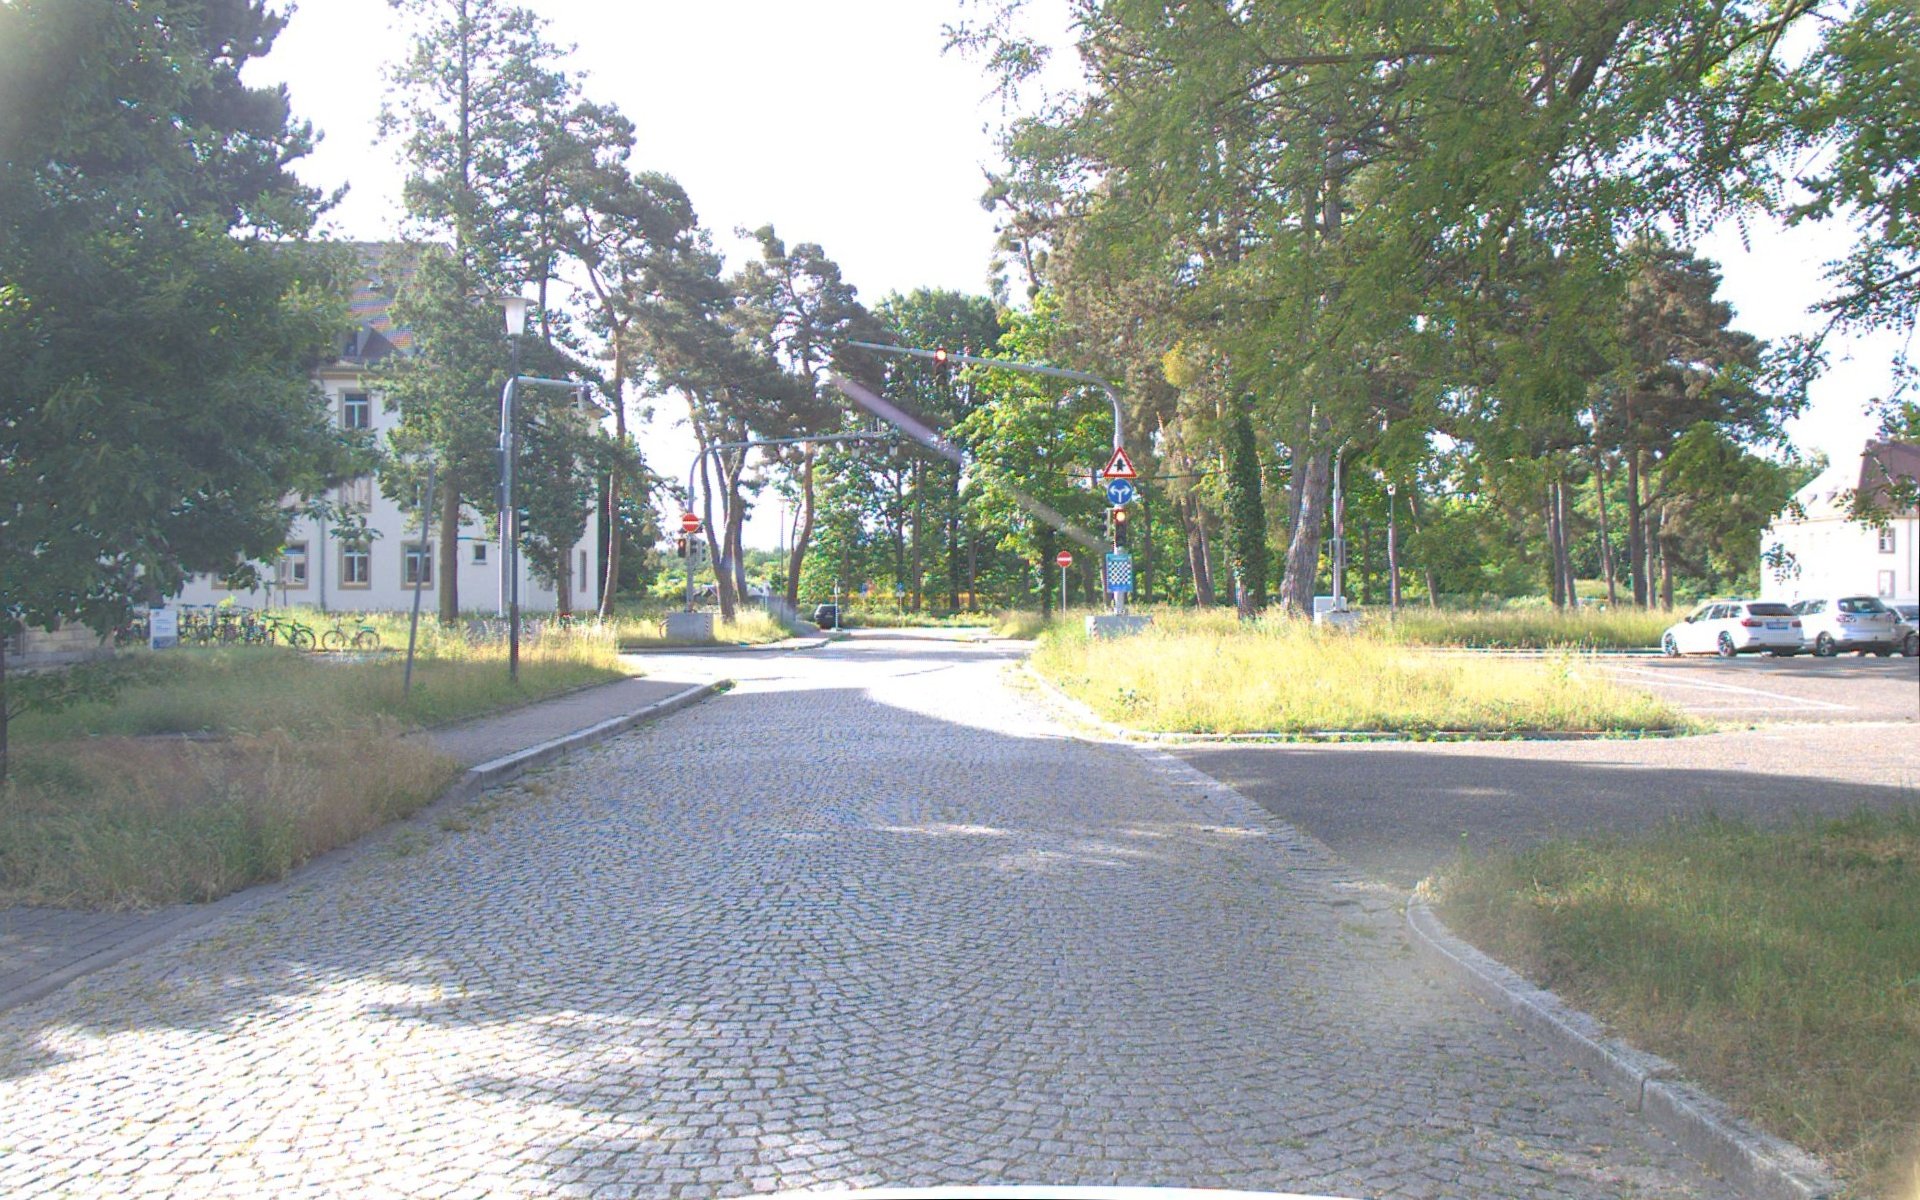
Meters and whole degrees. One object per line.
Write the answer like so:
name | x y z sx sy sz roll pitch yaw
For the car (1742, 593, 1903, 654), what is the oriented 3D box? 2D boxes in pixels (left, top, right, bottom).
car | 22.485 0.587 43.333 1.697 1.502 4.327 0 0 -5

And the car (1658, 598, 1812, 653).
car | 20.022 0.624 42.946 1.697 1.335 4.327 0 0 -5

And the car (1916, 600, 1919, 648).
car | 27.720 0.670 44.083 1.697 1.335 4.327 -1 0 -5

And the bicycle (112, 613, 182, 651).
bicycle | -24.052 0.927 48.999 0.882 1.065 2.553 0 0 -2

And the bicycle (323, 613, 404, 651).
bicycle | -17.326 0.930 48.062 2.076 1.065 0.828 0 0 -5

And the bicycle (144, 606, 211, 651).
bicycle | -23.168 0.827 49.028 0.809 1.303 2.553 0 0 -2

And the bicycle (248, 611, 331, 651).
bicycle | -19.407 0.888 47.901 2.076 1.128 0.828 0 0 -5

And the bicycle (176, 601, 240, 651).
bicycle | -22.417 0.751 49.354 0.809 1.462 2.553 0 0 -2

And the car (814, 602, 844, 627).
car | -8.352 0.912 105.827 1.808 1.512 3.997 0 0 -4

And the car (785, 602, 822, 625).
car | -10.453 0.905 110.504 1.745 1.516 3.757 0 0 5

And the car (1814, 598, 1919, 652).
car | 24.728 0.623 43.795 1.697 1.335 4.327 -1 0 -5

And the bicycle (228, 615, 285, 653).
bicycle | -20.867 0.995 49.105 0.809 1.065 2.123 0 0 -2

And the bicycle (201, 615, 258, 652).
bicycle | -21.633 0.978 49.037 0.809 1.065 2.123 0 0 -2
